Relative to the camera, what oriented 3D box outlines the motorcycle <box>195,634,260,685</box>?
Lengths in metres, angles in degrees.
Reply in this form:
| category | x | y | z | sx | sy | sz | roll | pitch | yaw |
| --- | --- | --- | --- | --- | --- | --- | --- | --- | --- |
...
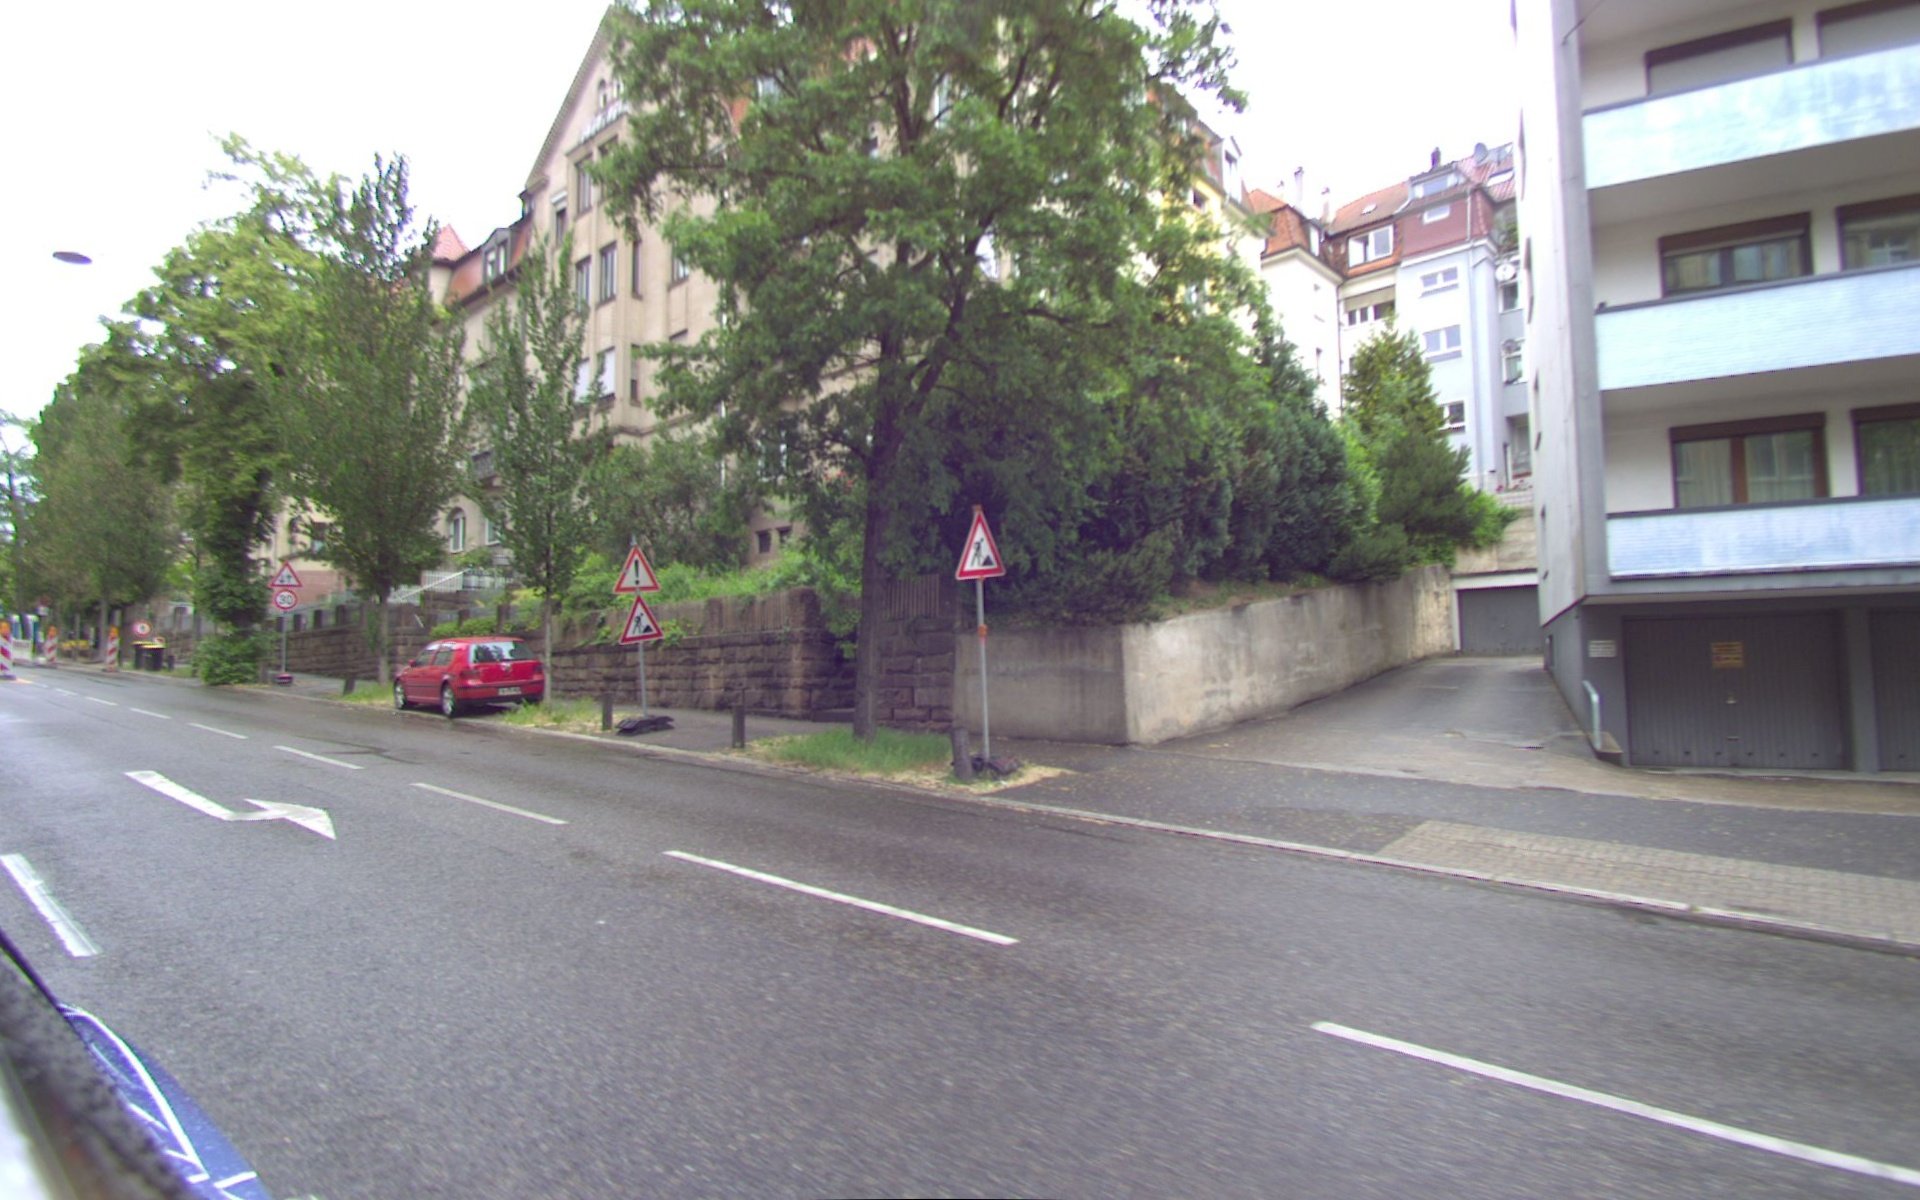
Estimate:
| category | x | y | z | sx | sy | sz | roll | pitch | yaw |
| --- | --- | --- | --- | --- | --- | --- | --- | --- | --- |
| motorcycle | -21.827 | 1.736 | 30.132 | 3.058 | 1.425 | 0.792 | -2 | -1 | 39 |

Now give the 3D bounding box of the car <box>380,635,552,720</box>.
| category | x | y | z | sx | sy | sz | roll | pitch | yaw |
| --- | --- | --- | --- | --- | --- | --- | --- | --- | --- |
| car | -9.654 | 1.424 | 19.646 | 4.063 | 1.462 | 1.596 | -1 | -2 | 42 |
